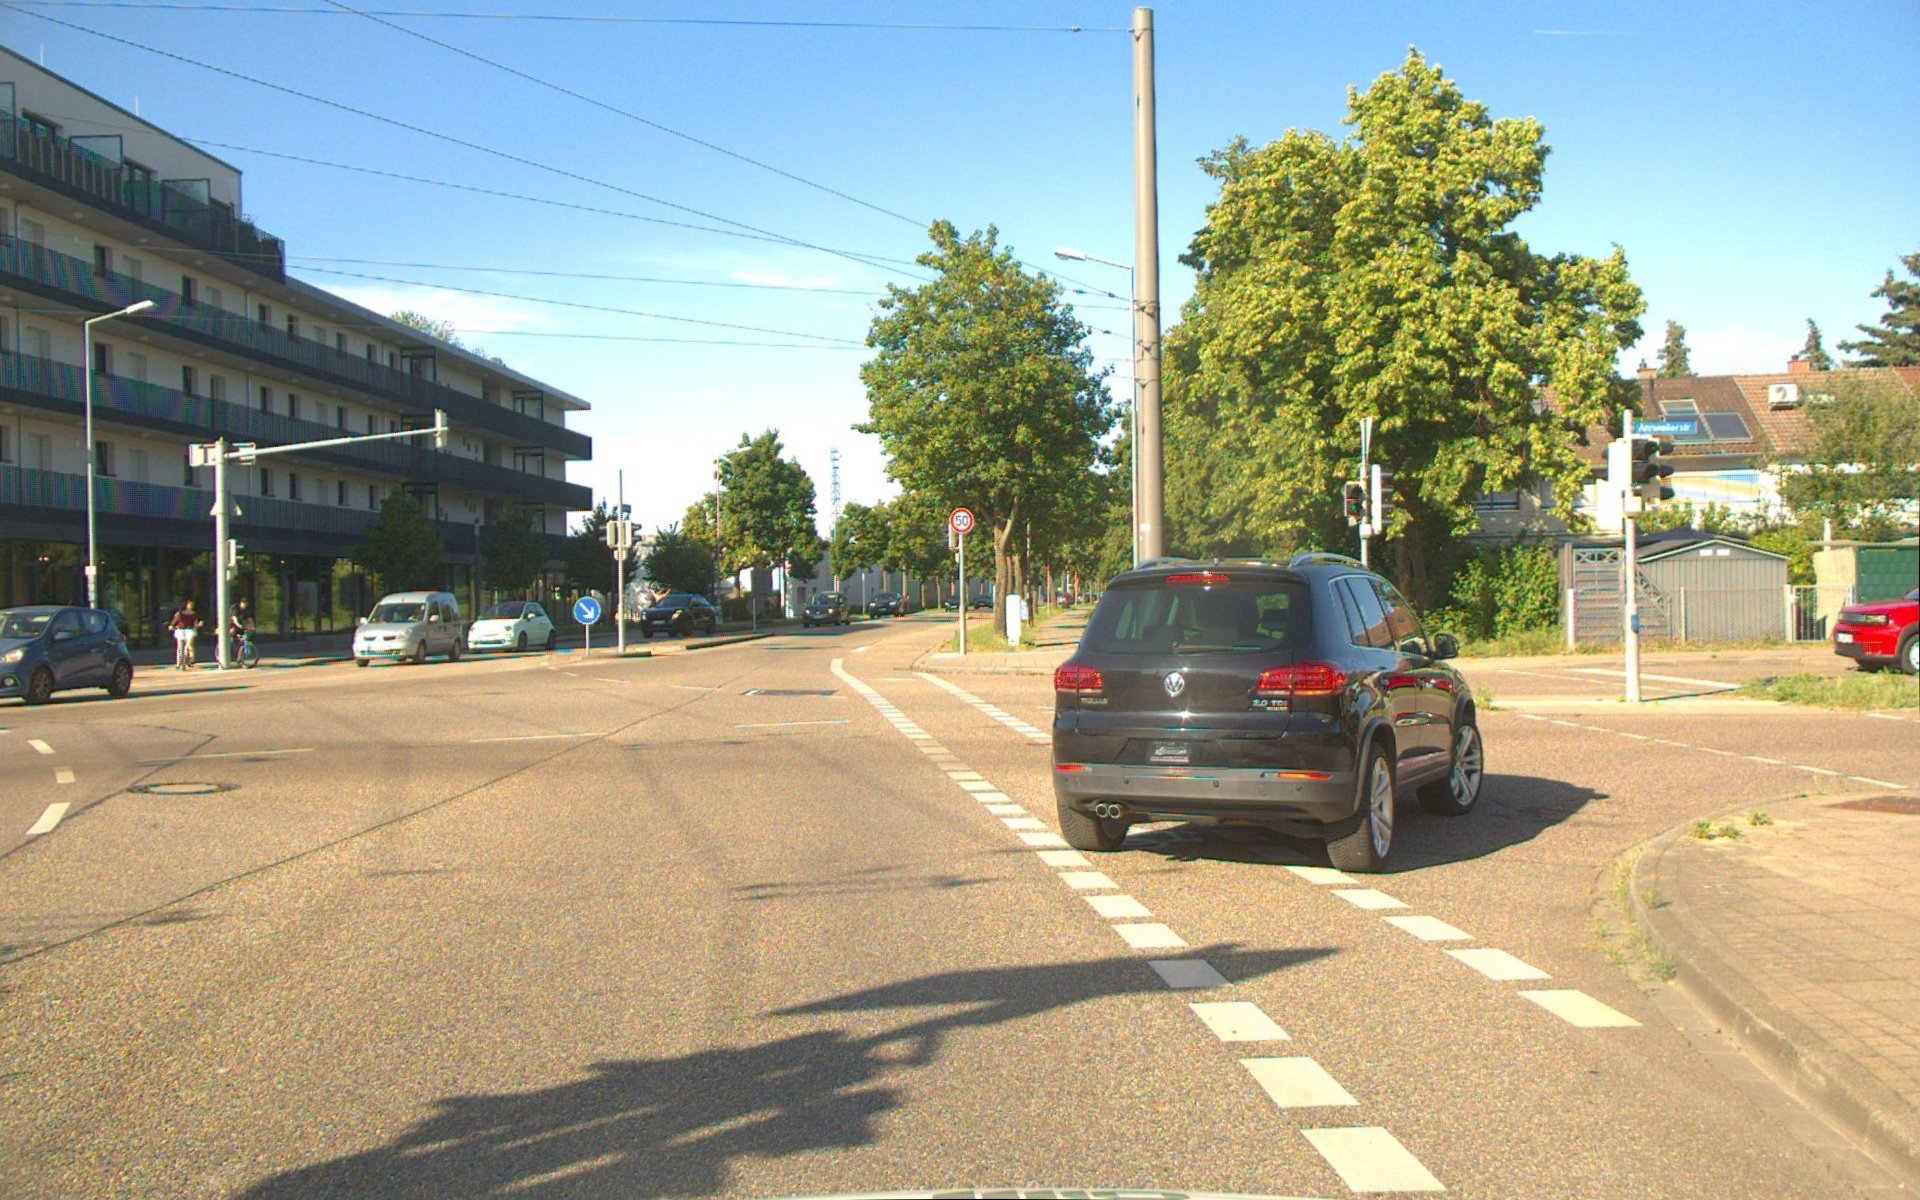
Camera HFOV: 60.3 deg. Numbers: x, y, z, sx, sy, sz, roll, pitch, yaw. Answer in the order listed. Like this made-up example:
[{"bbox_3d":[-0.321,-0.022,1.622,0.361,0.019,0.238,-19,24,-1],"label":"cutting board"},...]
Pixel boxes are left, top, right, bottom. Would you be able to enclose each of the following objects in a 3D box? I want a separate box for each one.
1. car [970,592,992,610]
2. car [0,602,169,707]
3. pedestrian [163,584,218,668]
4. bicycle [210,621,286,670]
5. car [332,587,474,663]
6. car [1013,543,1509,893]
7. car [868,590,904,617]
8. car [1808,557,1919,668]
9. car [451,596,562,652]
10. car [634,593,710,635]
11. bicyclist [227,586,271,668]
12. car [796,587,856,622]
[{"bbox_3d":[2.185,0.131,170.526,1.855,1.789,4.003,1,0,6],"label":"car"},{"bbox_3d":[-14.508,0.817,26.139,1.660,1.482,4.454,-1,0,3],"label":"car"},{"bbox_3d":[-19.162,0.638,41.203,0.957,2.049,0.760,-1,0,-2],"label":"pedestrian"},{"bbox_3d":[-18.166,1.150,42.207,1.607,1.164,0.743,-2,0,-8],"label":"bicycle"},{"bbox_3d":[-13.931,0.588,41.623,1.952,1.786,4.363,-1,0,2],"label":"car"},{"bbox_3d":[2.128,0.539,10.399,1.892,1.683,4.509,0,1,27],"label":"car"},{"bbox_3d":[-5.041,0.202,113.209,1.952,1.768,5.201,-1,0,3],"label":"car"},{"bbox_3d":[15.438,0.137,25.158,4.079,1.616,1.947,-1,1,5],"label":"car"},{"bbox_3d":[-13.670,0.699,50.032,1.951,1.513,3.547,-3,0,7],"label":"car"},{"bbox_3d":[-11.374,0.526,65.571,1.926,1.561,4.742,-1,0,3],"label":"car"},{"bbox_3d":[-18.143,0.683,42.214,0.778,2.049,0.810,-1,0,-8],"label":"bicyclist"},{"bbox_3d":[-6.390,0.182,79.047,1.951,1.599,4.003,-2,0,9],"label":"car"}]
